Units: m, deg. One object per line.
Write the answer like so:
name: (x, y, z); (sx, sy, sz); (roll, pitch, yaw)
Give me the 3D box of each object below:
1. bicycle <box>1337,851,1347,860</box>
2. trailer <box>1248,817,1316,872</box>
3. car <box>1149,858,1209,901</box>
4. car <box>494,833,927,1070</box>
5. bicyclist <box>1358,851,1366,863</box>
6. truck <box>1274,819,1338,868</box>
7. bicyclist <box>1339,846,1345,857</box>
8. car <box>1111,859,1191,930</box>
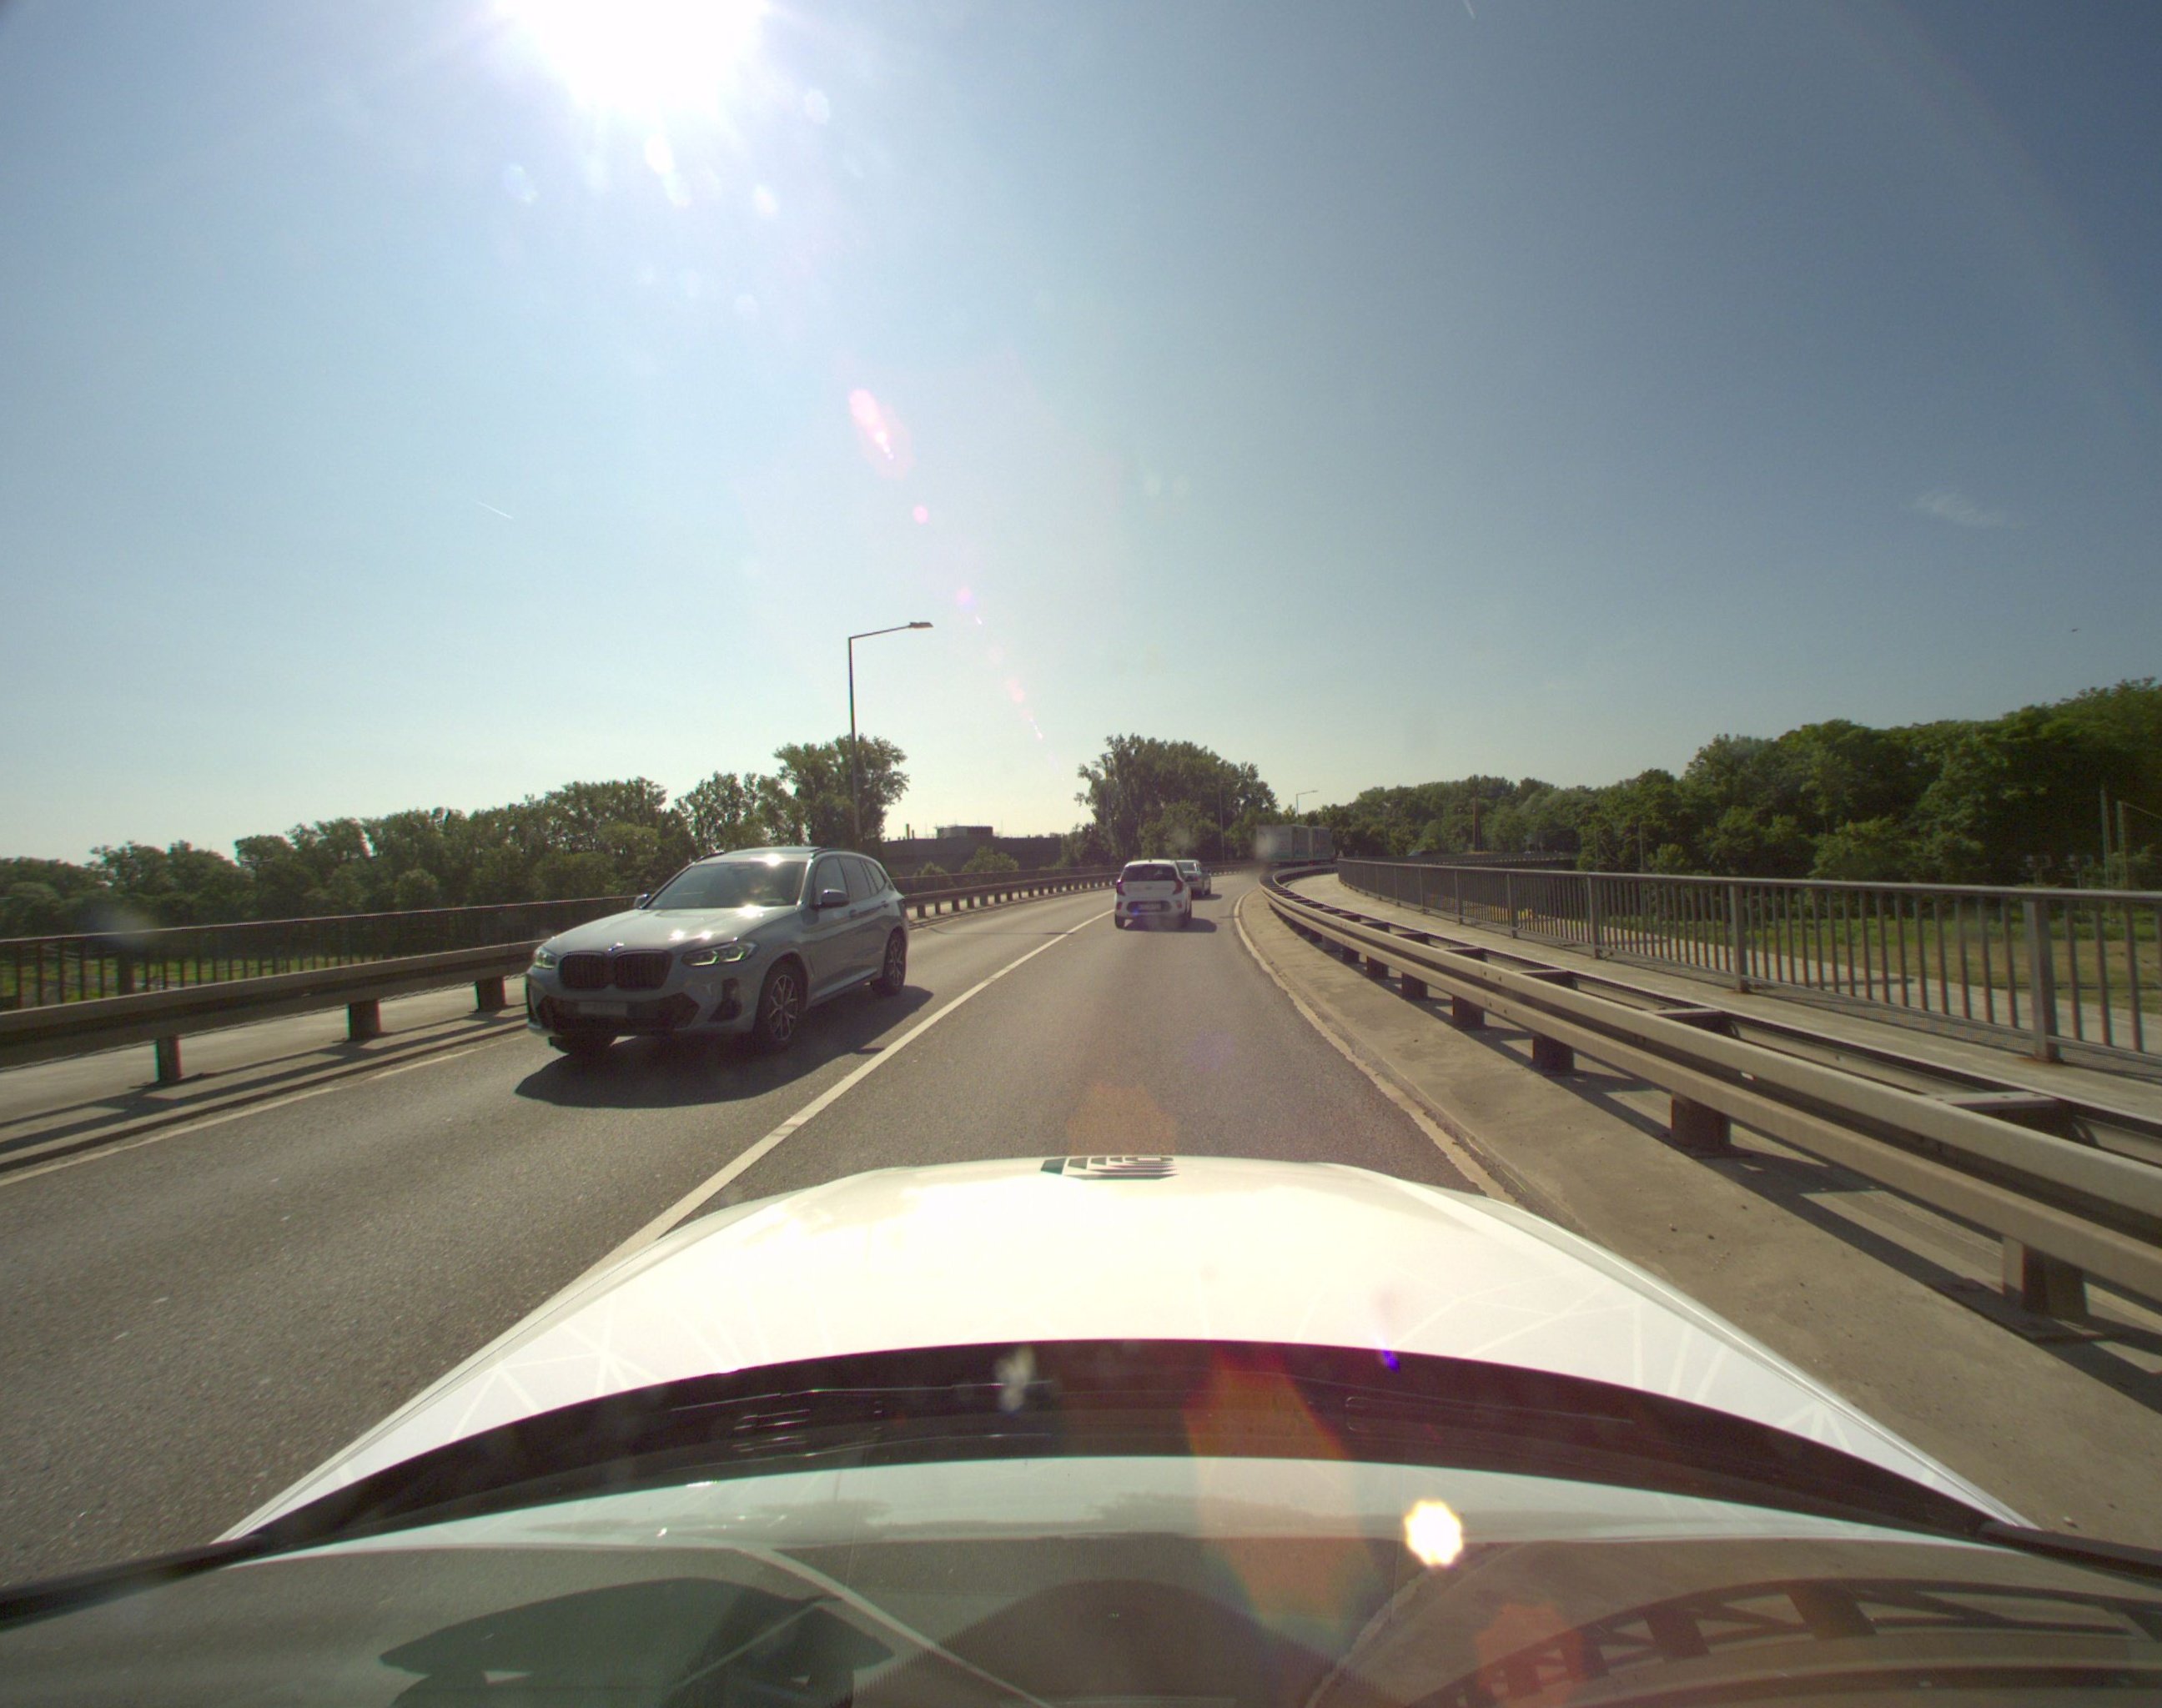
bicycle: (32.558, 0.240, 101.566); (0.568, 1.047, 1.721); (-4, -1, 35)
trailer: (15.033, -0.751, 60.464); (3.194, 3.758, 7.872); (1, 1, 27)
car: (3.814, 0.915, 30.939); (1.927, 1.486, 4.914); (-1, 0, 11)
car: (-3.111, 0.733, 8.103); (1.848, 1.682, 4.481); (0, -1, 6)
bicyclist: (35.558, 0.331, 103.065); (0.654, 1.496, 1.023); (-1, 1, 38)
truck: (18.807, -0.903, 67.575); (3.229, 3.758, 8.422); (1, 1, 29)
bicyclist: (32.527, -0.312, 101.513); (0.483, 1.329, 0.952); (-1, -2, 34)
car: (1.770, 0.878, 19.386); (1.692, 1.494, 4.009); (0, -1, 8)
